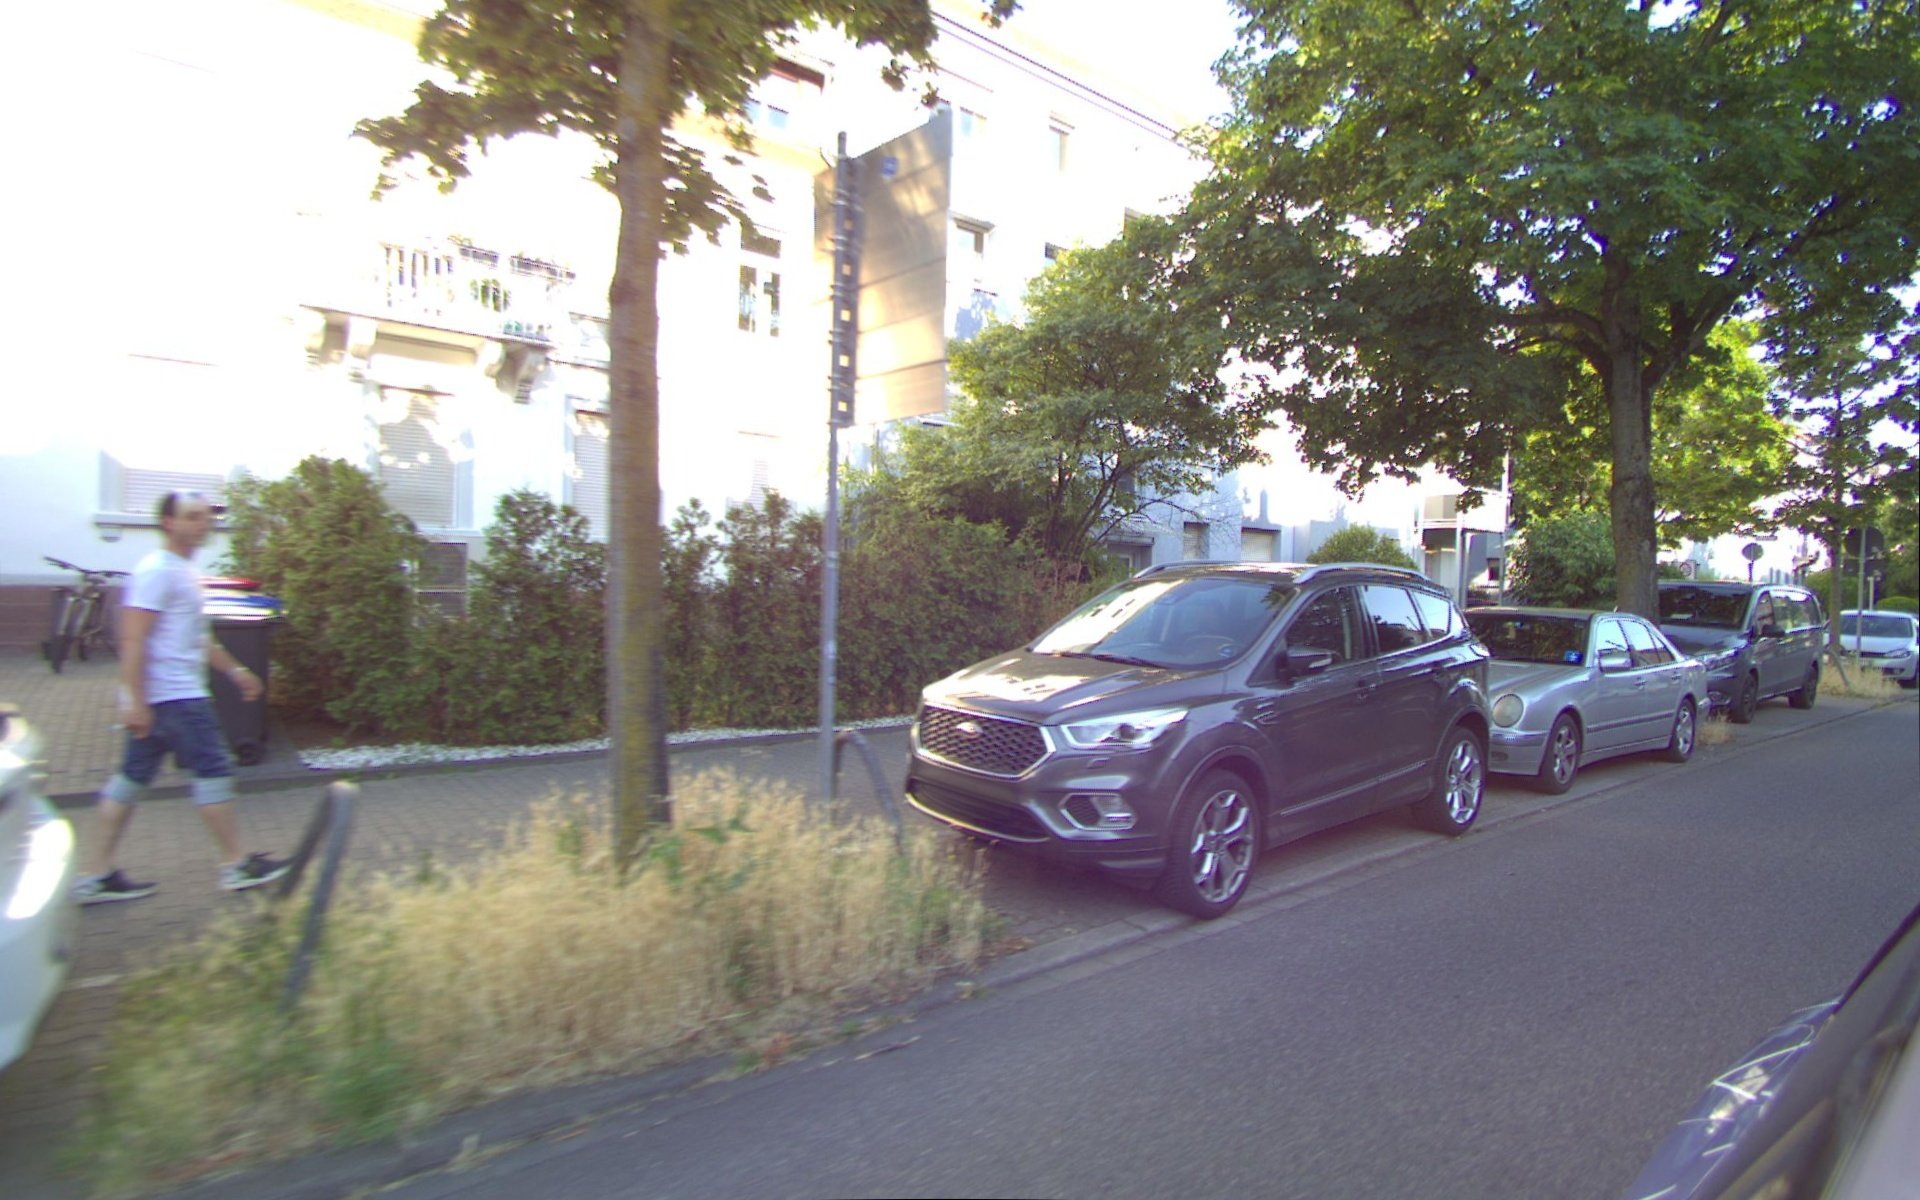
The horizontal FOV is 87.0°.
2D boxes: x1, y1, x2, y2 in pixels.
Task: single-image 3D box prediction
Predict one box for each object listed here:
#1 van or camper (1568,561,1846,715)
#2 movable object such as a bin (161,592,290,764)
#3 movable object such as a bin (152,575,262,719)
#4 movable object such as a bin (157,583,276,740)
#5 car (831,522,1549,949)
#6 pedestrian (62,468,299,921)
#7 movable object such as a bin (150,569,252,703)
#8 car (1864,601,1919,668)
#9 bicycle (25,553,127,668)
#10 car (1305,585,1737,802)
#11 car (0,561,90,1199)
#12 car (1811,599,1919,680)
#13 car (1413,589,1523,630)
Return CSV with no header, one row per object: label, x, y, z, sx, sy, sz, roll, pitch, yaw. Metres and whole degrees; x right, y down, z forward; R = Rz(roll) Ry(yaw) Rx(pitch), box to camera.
van or camper,10.978,0.504,14.705,5.163,1.865,1.998,2,0,-39
movable object such as a bin,-5.168,0.514,7.112,0.672,1.070,0.727,1,4,-40
movable object such as a bin,-6.185,0.361,8.308,0.672,1.070,0.727,1,4,-40
movable object such as a bin,-5.678,0.437,7.722,0.672,1.070,0.727,1,4,-40
car,1.693,0.498,6.269,4.625,1.702,1.921,0,3,-41
pedestrian,-3.479,0.370,4.539,0.751,1.805,0.669,-2,-1,-40
movable object such as a bin,-6.672,0.293,8.887,0.672,1.070,0.727,1,4,-40
car,23.167,0.833,24.201,4.263,1.461,1.738,1,1,-41
bicycle,-9.274,0.075,10.666,0.656,1.107,1.729,1,2,-37
car,5.381,0.676,9.422,4.742,1.523,1.789,1,1,-38
car,-4.192,0.610,1.554,4.256,1.419,1.766,0,2,-39
car,19.145,0.776,20.897,4.228,1.461,1.738,1,1,-41
car,22.495,0.389,44.914,3.988,1.574,1.969,2,4,44
